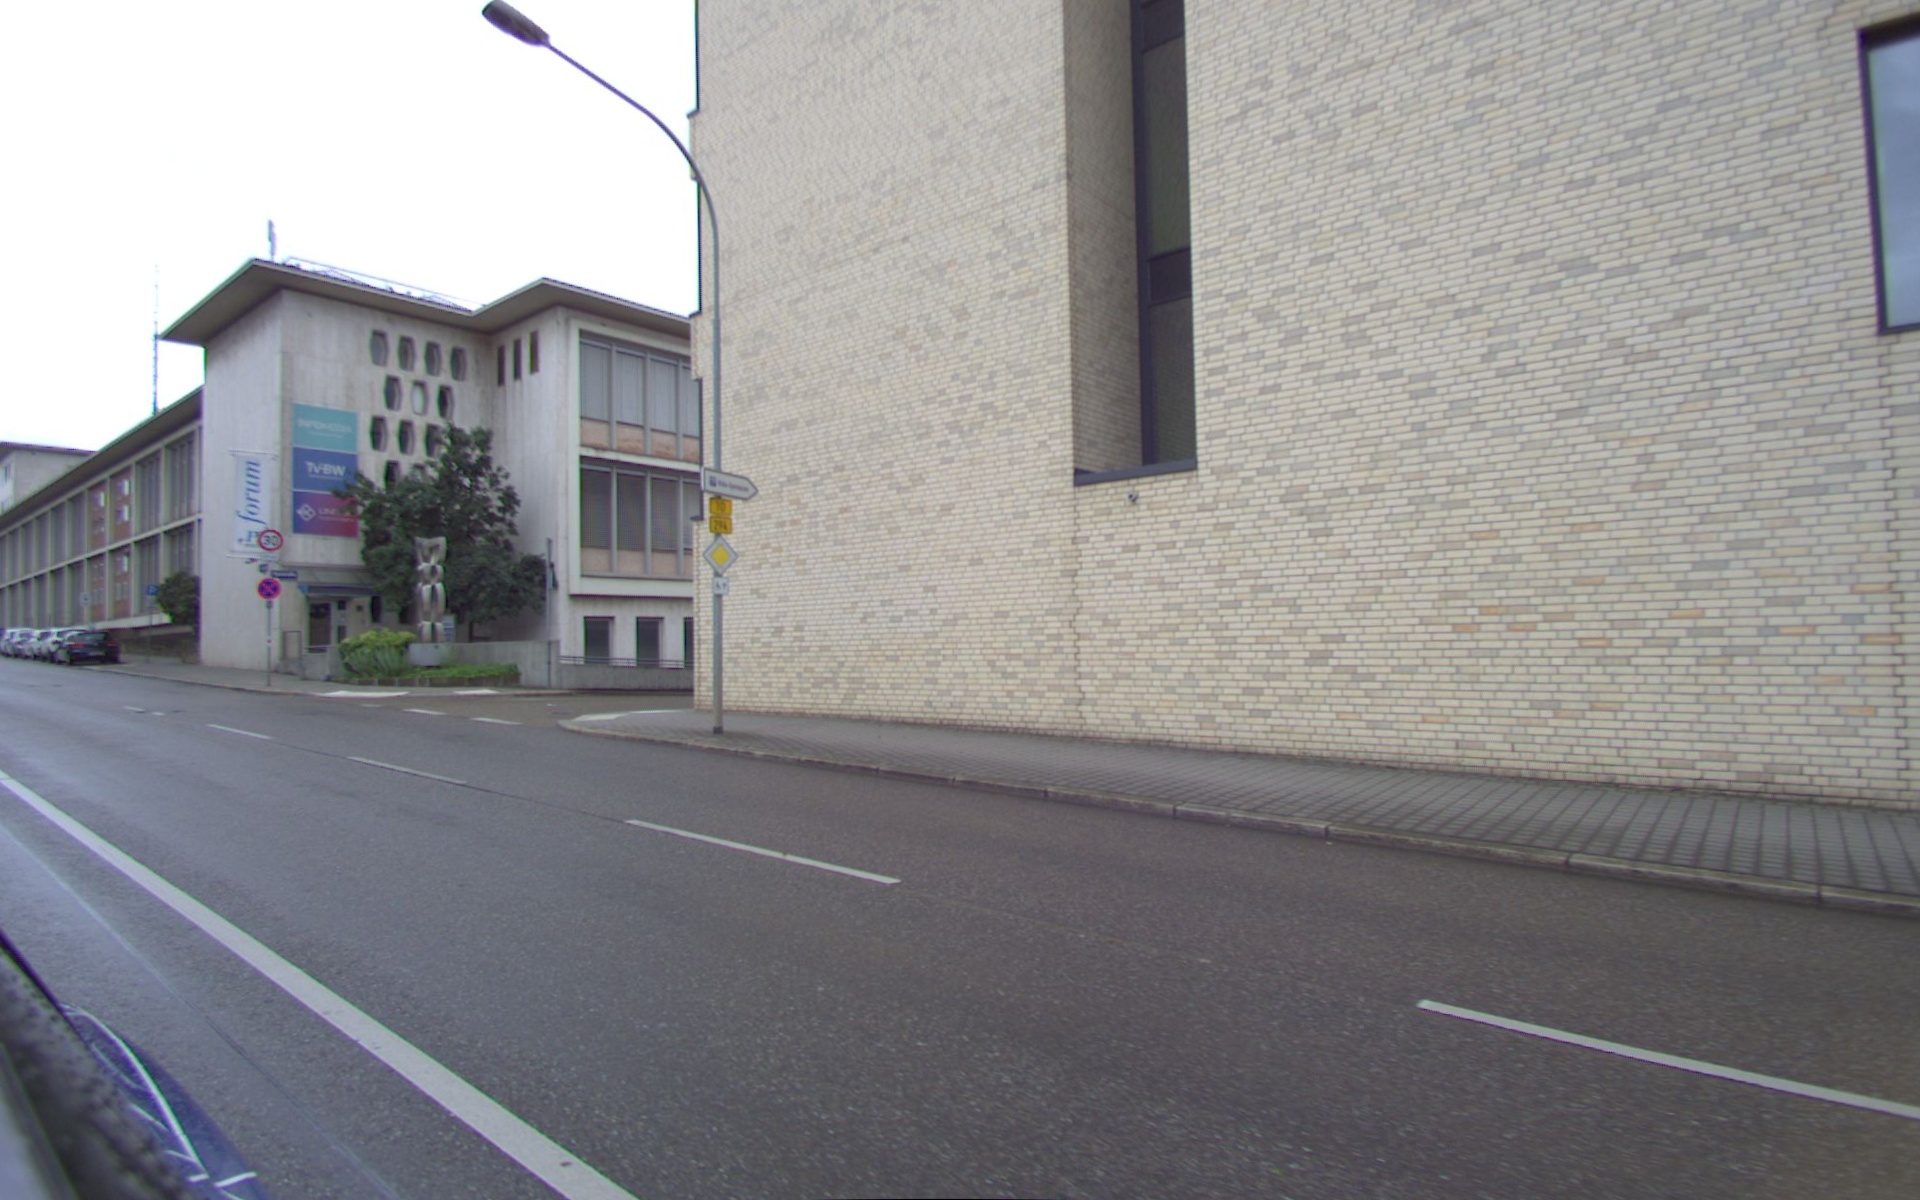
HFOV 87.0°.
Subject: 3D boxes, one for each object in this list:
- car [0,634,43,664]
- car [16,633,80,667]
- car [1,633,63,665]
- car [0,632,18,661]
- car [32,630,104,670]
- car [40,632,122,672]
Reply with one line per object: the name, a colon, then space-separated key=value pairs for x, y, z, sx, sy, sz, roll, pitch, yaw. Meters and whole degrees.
car: x=-54.591 y=2.780 z=58.347 sx=3.996 sy=1.541 sz=1.974 roll=-1 pitch=0 yaw=40
car: x=-45.948 y=2.485 z=50.949 sx=3.999 sy=1.523 sz=1.973 roll=-1 pitch=0 yaw=42
car: x=-49.810 y=2.593 z=54.284 sx=4.183 sy=1.502 sz=1.973 roll=-1 pitch=0 yaw=41
car: x=-60.867 y=2.917 z=63.566 sx=3.997 sy=1.724 sz=1.974 roll=-1 pitch=0 yaw=40
car: x=-41.776 y=2.314 z=47.352 sx=3.997 sy=1.654 sz=1.973 roll=-1 pitch=0 yaw=40
car: x=-37.946 y=2.207 z=43.662 sx=3.995 sy=1.541 sz=1.974 roll=-1 pitch=0 yaw=39
